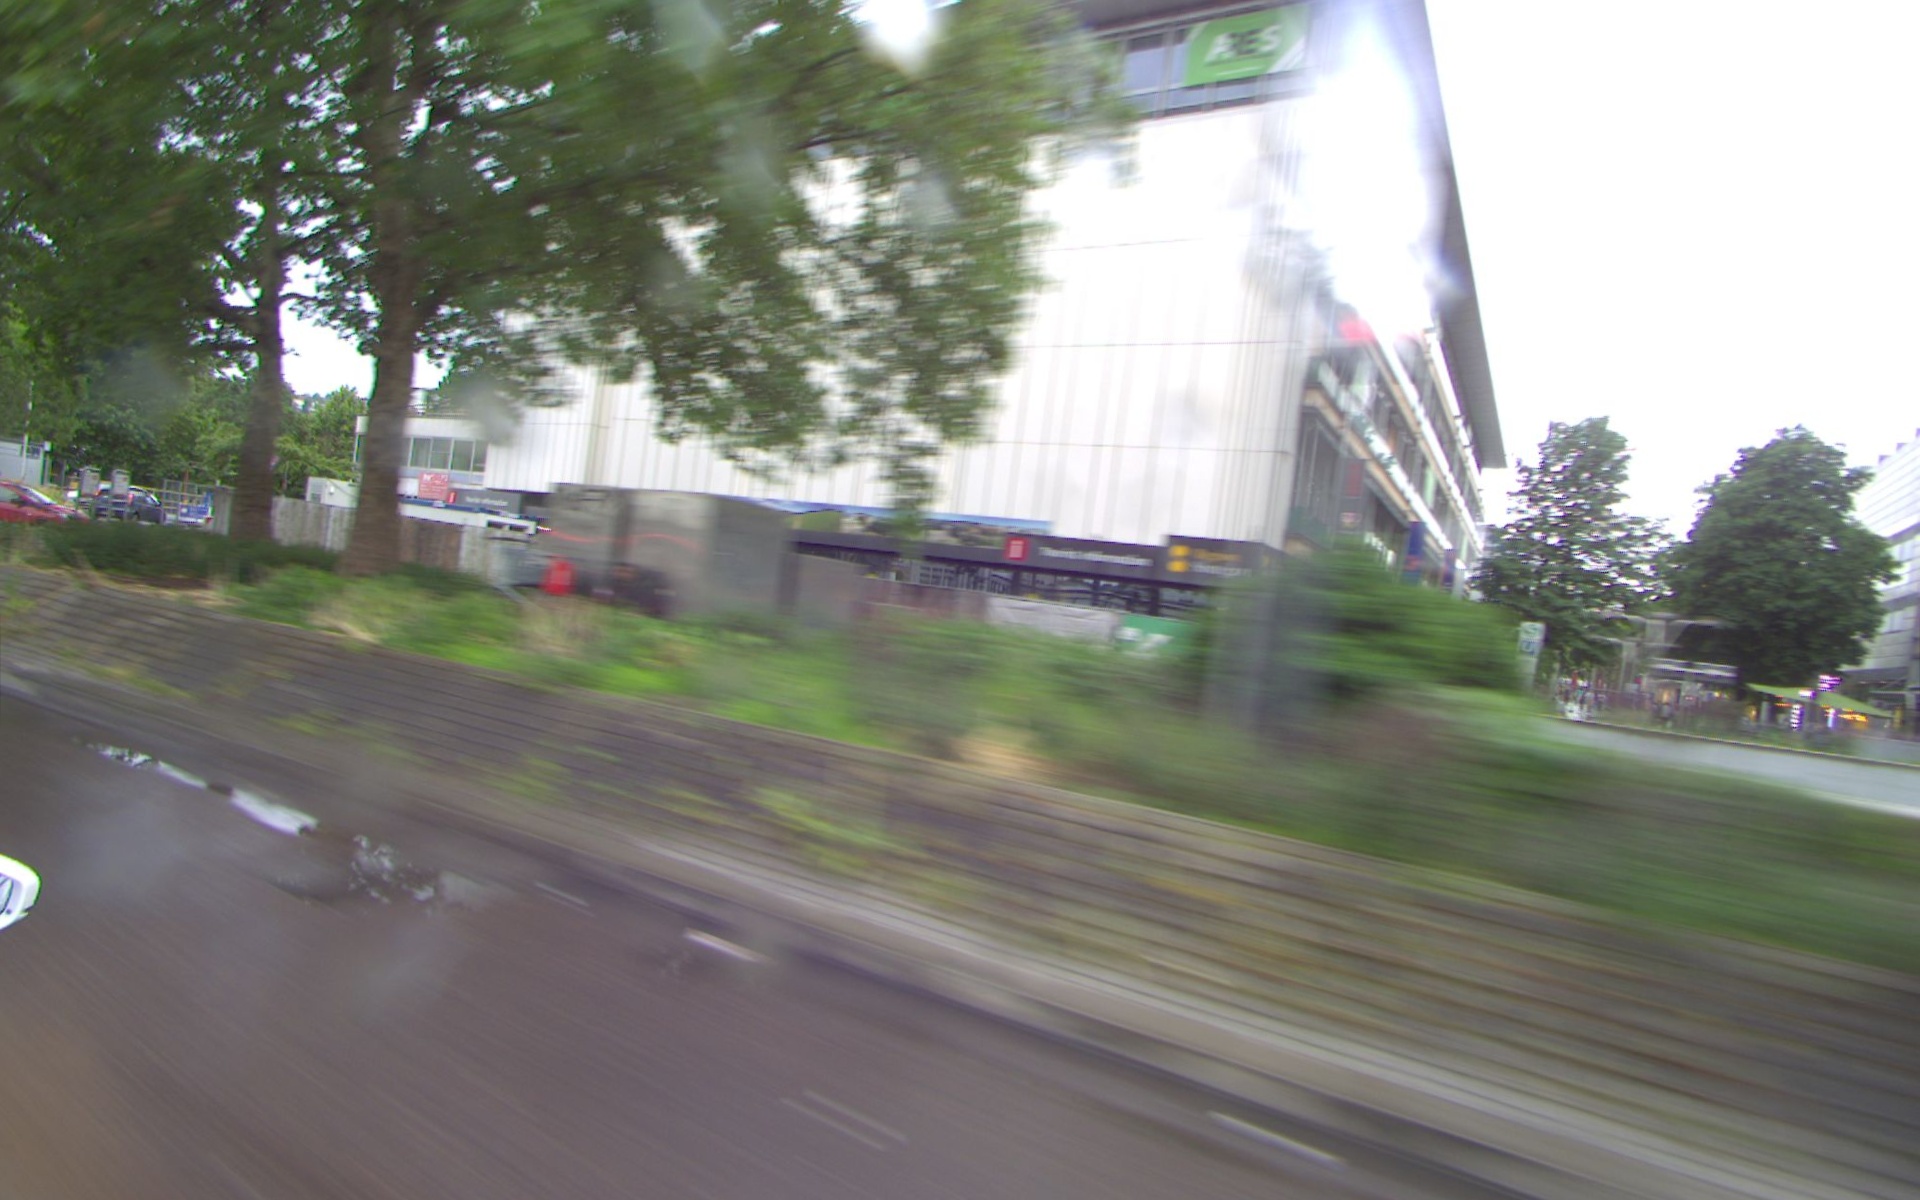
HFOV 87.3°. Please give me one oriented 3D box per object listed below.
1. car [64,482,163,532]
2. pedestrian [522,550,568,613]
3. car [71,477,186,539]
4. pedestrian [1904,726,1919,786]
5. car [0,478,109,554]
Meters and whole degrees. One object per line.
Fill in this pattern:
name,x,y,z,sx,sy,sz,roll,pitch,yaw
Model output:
car,-43.077,-4.680,51.331,1.920,1.801,4.445,8,-2,-13
pedestrian,-10.630,-0.480,25.748,0.910,1.487,0.549,7,1,35
car,-37.111,-4.049,45.077,2.102,2.037,4.635,8,-2,-16
pedestrian,33.617,5.448,34.829,0.835,2.037,0.988,7,-1,13
car,-23.553,-2.195,24.682,3.571,1.523,1.726,9,-2,-22
